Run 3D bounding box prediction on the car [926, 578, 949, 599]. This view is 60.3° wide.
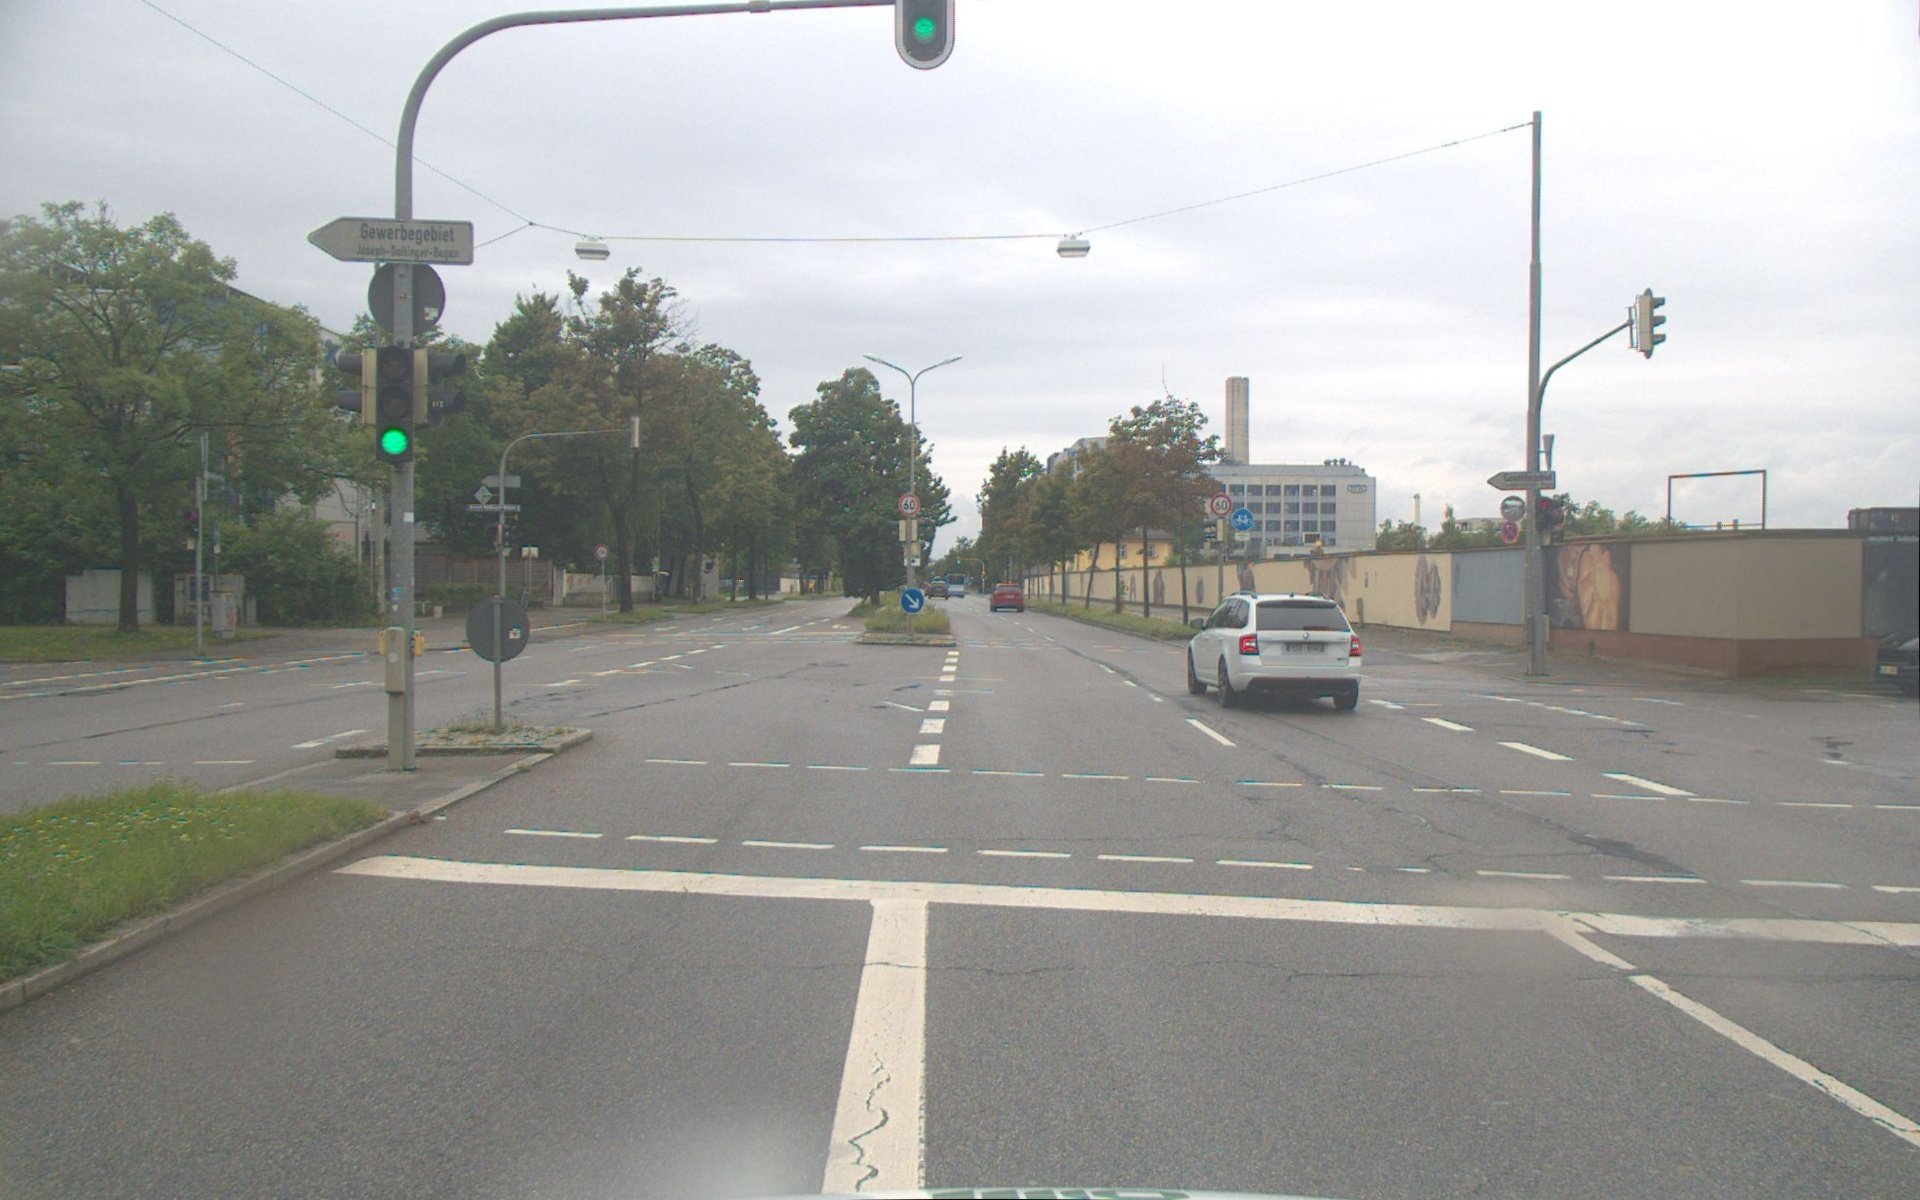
[{"bbox_3d":[-2.106,-1.083,153.397,2.042,1.898,4.384,1,0,-3],"label":"car"}]

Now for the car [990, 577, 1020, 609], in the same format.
[{"bbox_3d":[2.532,-0.404,94.294,1.454,1.745,3.549,1,0,-3],"label":"car"}]

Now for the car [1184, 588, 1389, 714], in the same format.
[{"bbox_3d":[4.288,0.608,22.392,1.839,1.493,4.502,1,0,0],"label":"car"}]

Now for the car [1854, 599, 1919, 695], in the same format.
[{"bbox_3d":[16.782,0.707,26.198,4.162,1.453,2.000,0,0,1],"label":"car"}]

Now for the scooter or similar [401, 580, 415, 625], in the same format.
[{"bbox_3d":[-17.934,0.067,53.720,0.364,1.449,1.399,1,0,-16],"label":"scooter or similar"}]

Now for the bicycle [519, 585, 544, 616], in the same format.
[{"bbox_3d":[-18.922,0.004,73.028,0.570,1.318,2.453,1,0,-4],"label":"bicycle"}]

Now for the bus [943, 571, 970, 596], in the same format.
[{"bbox_3d":[-0.498,-2.209,223.515,3.156,3.181,10.340,1,0,-3],"label":"bus"}]
